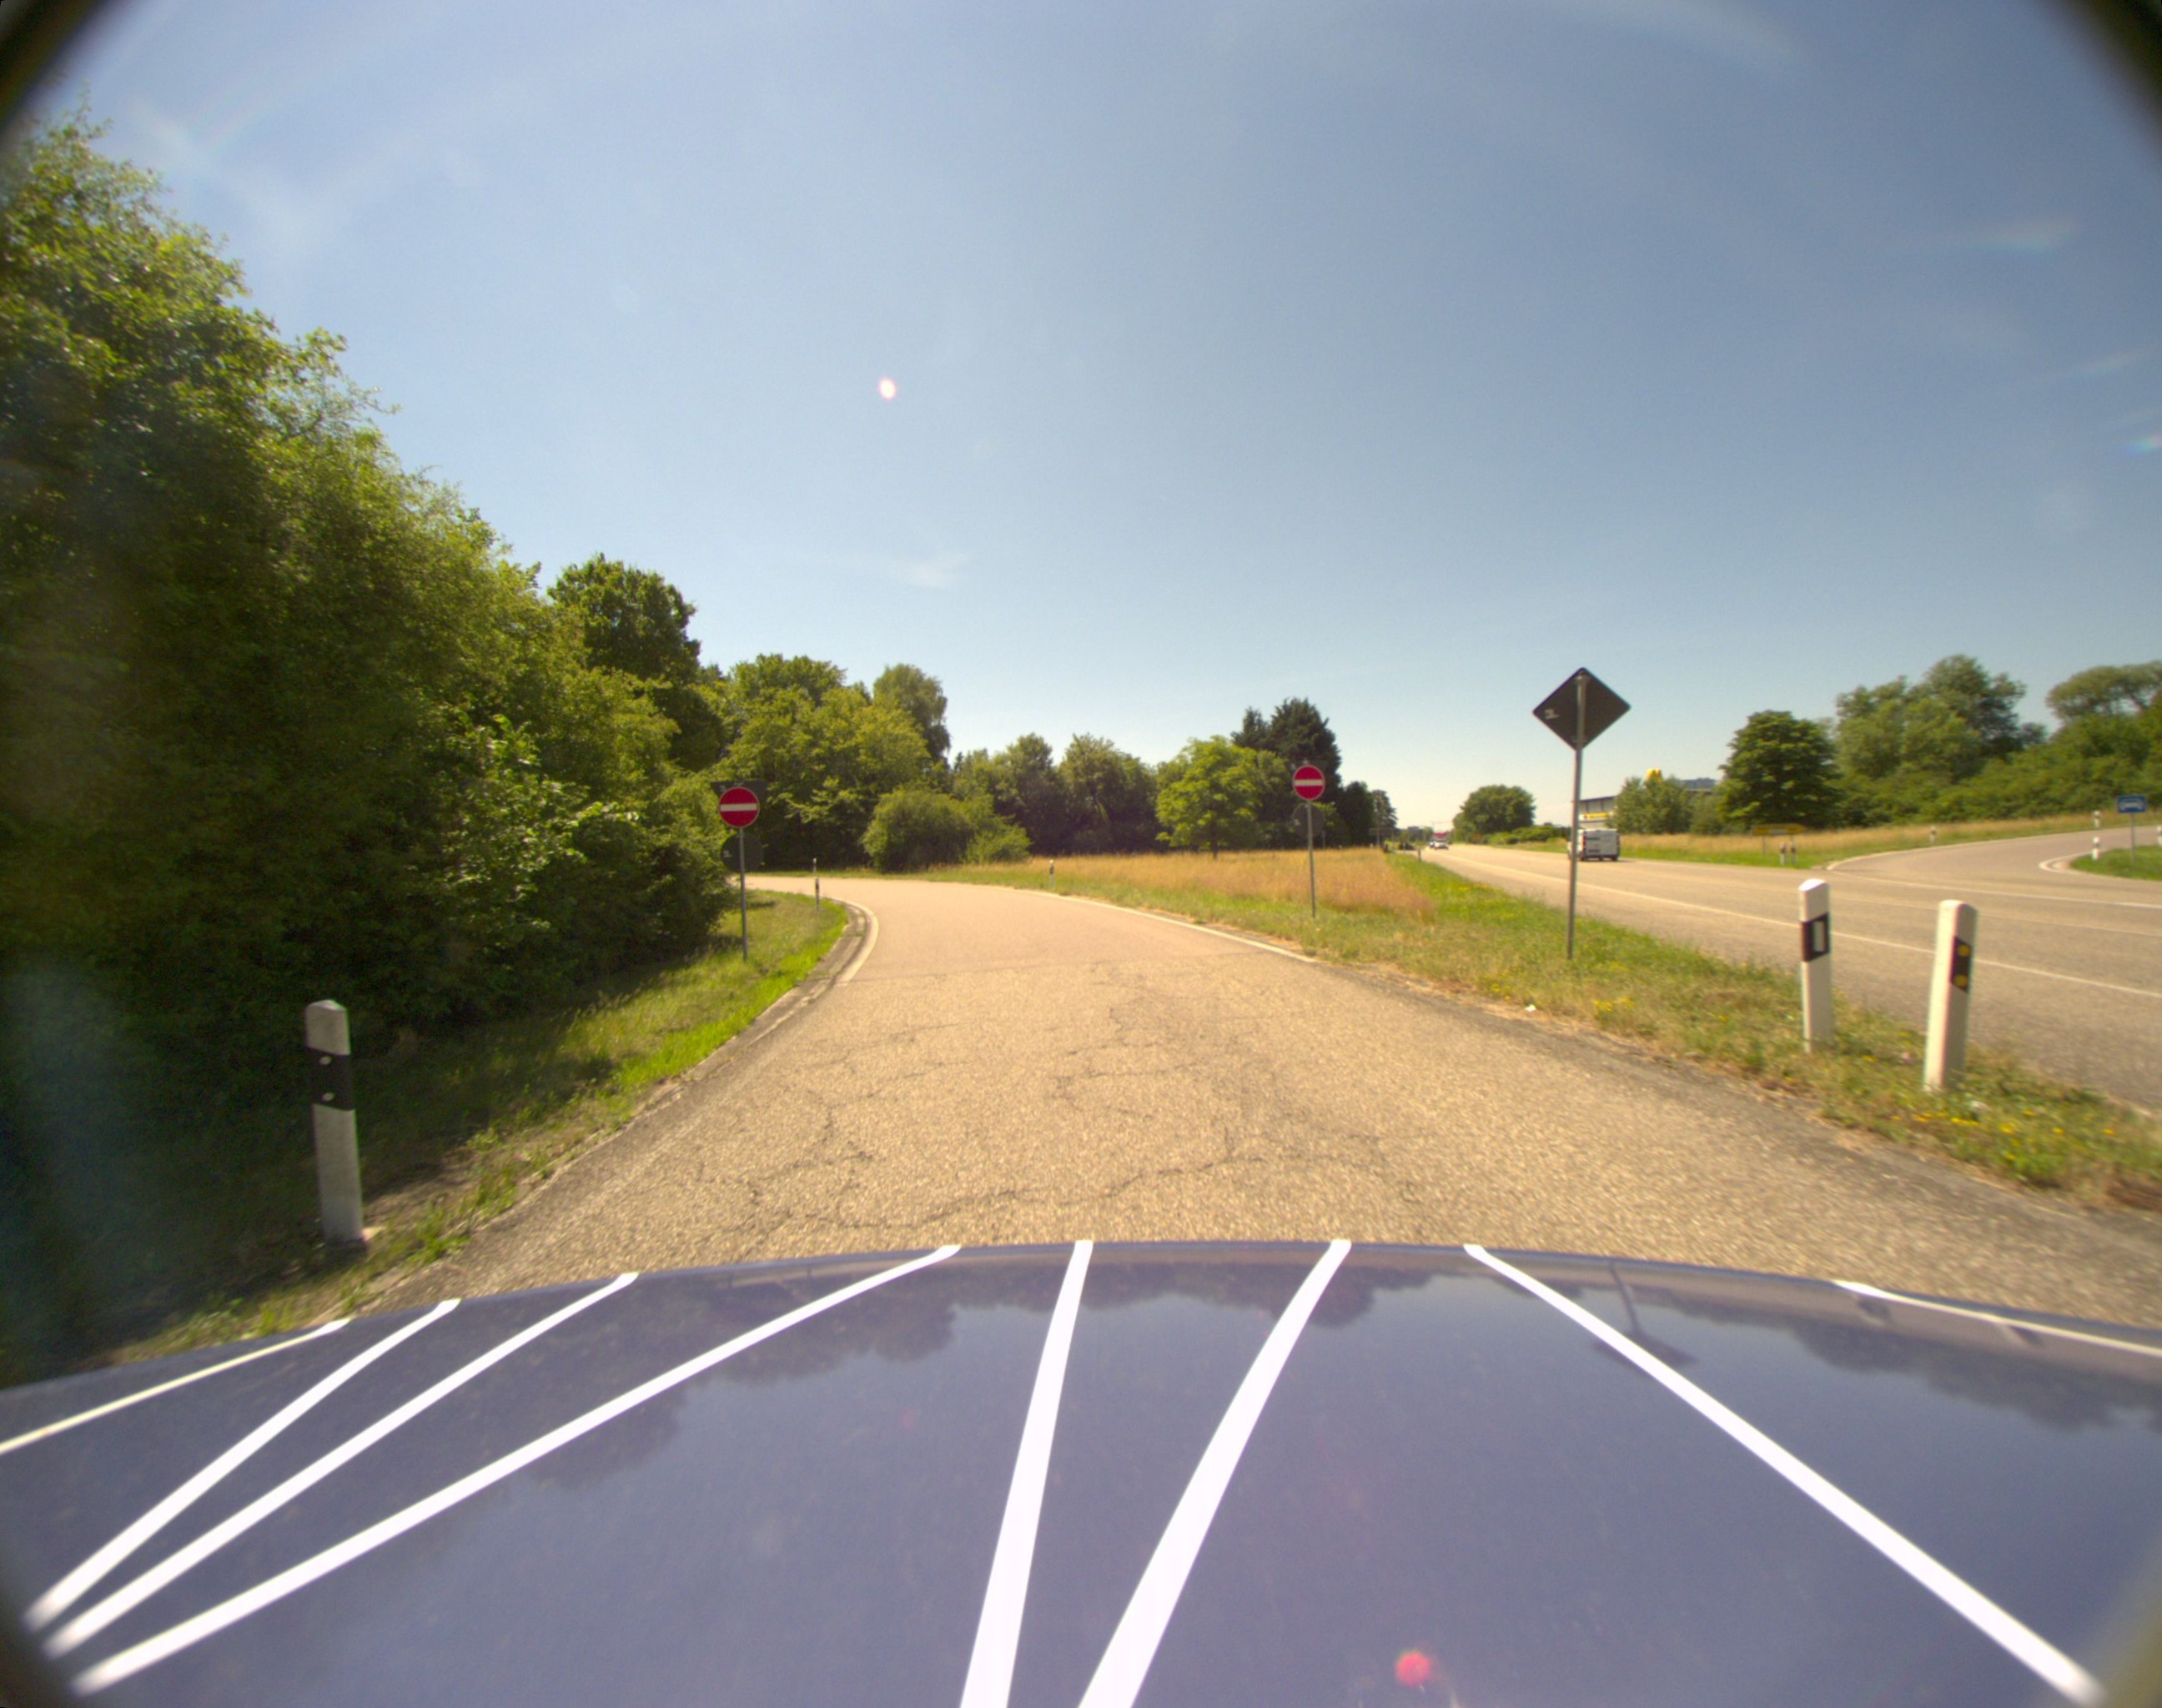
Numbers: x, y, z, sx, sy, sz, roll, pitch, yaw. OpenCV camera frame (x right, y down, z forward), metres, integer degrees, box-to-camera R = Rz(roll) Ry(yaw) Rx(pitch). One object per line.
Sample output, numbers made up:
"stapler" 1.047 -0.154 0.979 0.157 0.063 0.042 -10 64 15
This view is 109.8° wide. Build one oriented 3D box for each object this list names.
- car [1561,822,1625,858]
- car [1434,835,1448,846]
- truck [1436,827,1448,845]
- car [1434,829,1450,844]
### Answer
"car" 30.951 -0.788 46.104 1.911 1.949 5.402 0 -1 20
"car" 60.877 -2.306 128.657 1.910 1.770 4.464 -1 -1 23
"truck" 69.366 -3.491 145.874 1.995 3.158 7.017 0 -1 26
"car" 52.872 -2.525 111.448 1.910 1.949 4.464 0 -1 23
